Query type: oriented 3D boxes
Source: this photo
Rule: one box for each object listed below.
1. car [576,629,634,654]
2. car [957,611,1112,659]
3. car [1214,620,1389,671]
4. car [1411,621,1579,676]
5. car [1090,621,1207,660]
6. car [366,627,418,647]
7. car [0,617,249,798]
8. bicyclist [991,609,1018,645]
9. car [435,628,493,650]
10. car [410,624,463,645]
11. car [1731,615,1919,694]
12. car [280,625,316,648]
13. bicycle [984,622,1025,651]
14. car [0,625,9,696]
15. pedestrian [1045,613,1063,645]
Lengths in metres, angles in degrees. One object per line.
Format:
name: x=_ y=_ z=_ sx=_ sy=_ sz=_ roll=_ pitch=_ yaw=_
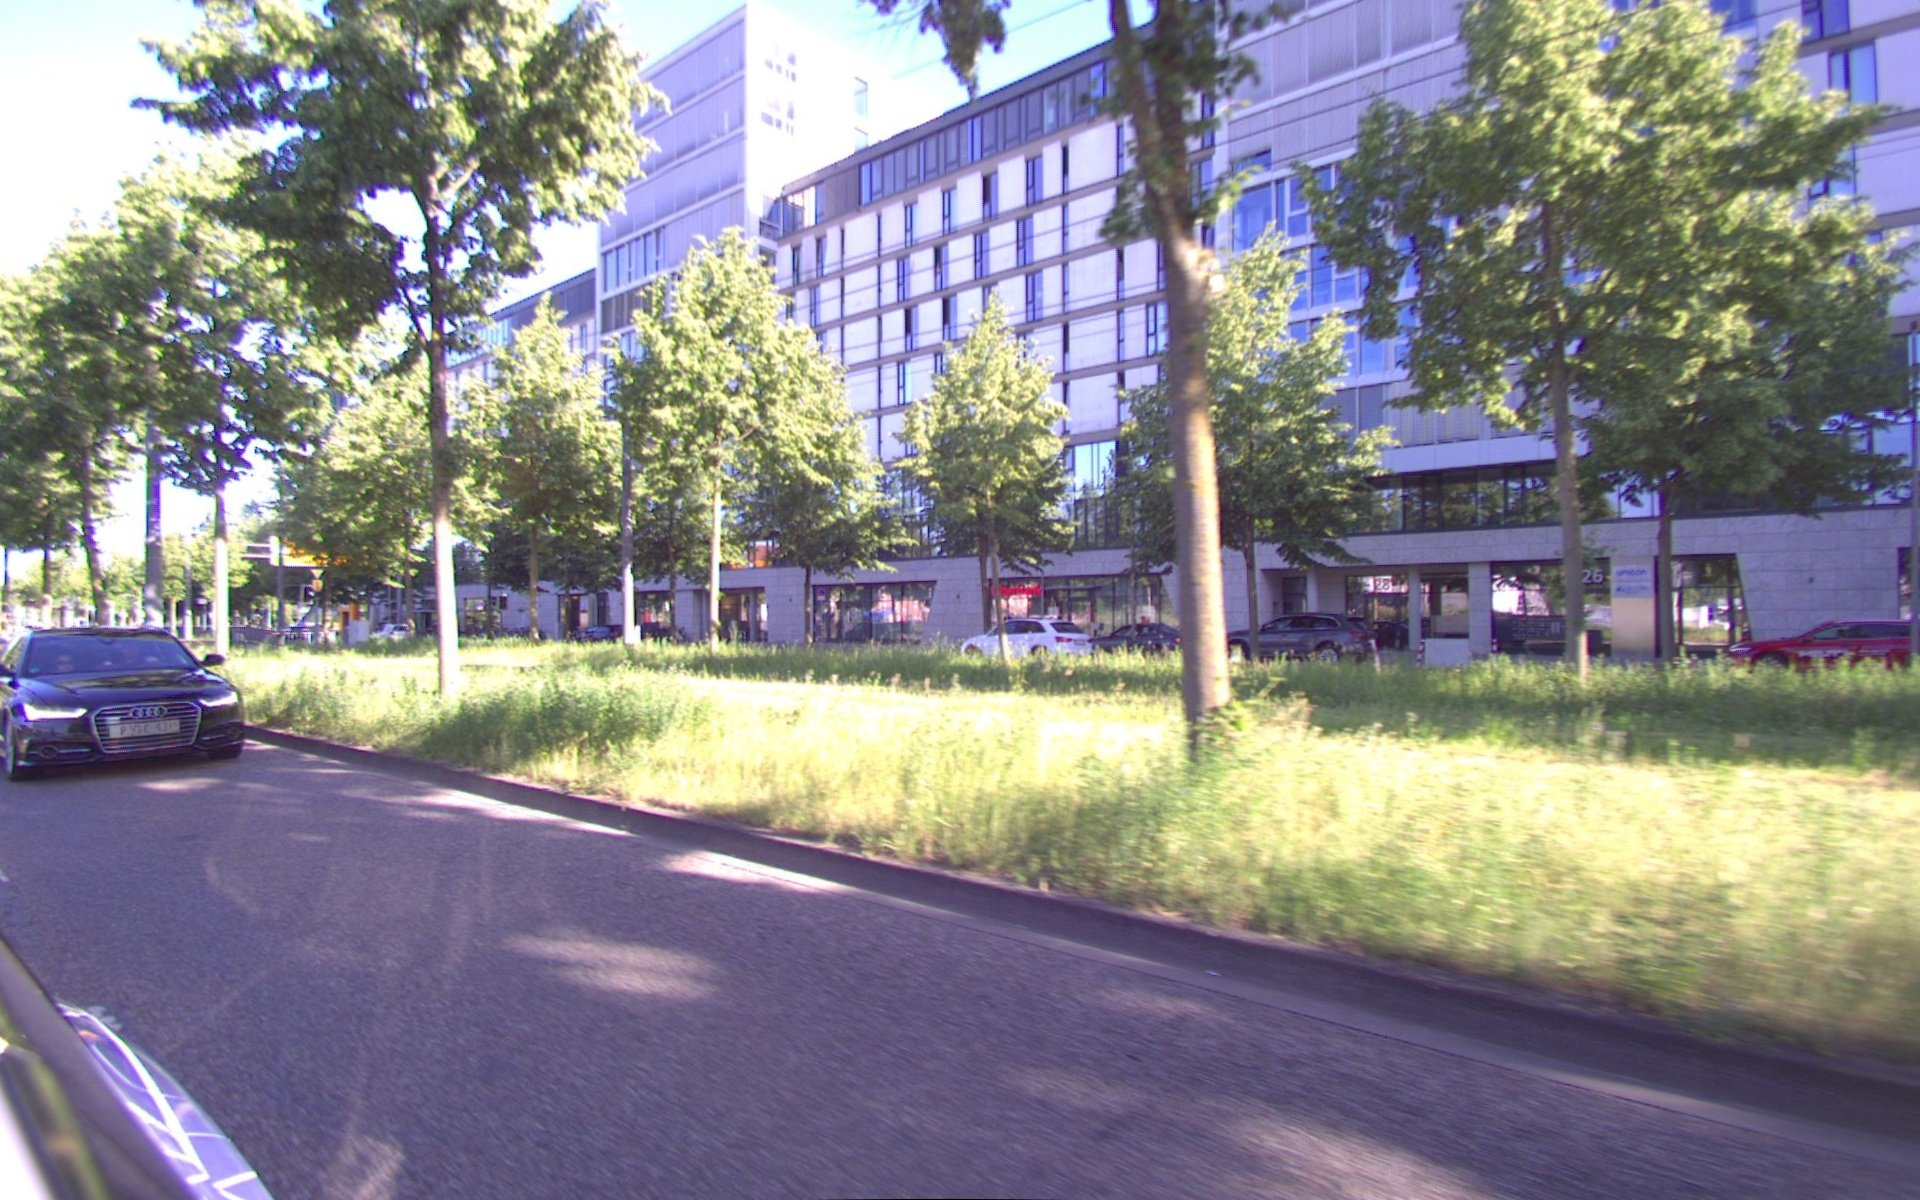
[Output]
car: x=-20.156 y=2.319 z=57.446 sx=3.463 sy=1.244 sz=1.633 roll=0 pitch=0 yaw=41
car: x=2.121 y=1.050 z=29.589 sx=4.307 sy=1.302 sz=1.779 roll=-3 pitch=-3 yaw=40
car: x=10.408 y=1.356 z=31.086 sx=4.801 sy=1.430 sz=1.651 roll=-2 pitch=-2 yaw=41
car: x=14.444 y=1.275 z=27.424 sx=3.751 sy=1.364 sz=1.715 roll=-2 pitch=-2 yaw=40
car: x=6.414 y=1.357 z=34.545 sx=3.580 sy=1.216 sz=1.651 roll=-1 pitch=-1 yaw=40
car: x=-35.874 y=2.330 z=63.911 sx=3.482 sy=1.247 sz=1.751 roll=-2 pitch=-1 yaw=40
car: x=-9.438 y=0.989 z=10.996 sx=4.599 sy=1.538 sz=1.766 roll=-2 pitch=-1 yaw=41
bicyclist: x=1.816 y=1.099 z=41.504 sx=0.832 sy=1.474 sz=0.712 roll=-2 pitch=-1 yaw=43
car: x=-34.004 y=2.635 z=69.367 sx=4.542 sy=1.431 sz=1.978 roll=-2 pitch=-1 yaw=41
car: x=-37.949 y=2.488 z=73.315 sx=4.542 sy=1.431 sz=1.938 roll=-2 pitch=-1 yaw=41
car: x=22.166 y=1.315 z=24.828 sx=5.121 sy=1.790 sz=1.781 roll=-2 pitch=-1 yaw=38
car: x=-61.384 y=3.390 z=93.831 sx=3.999 sy=1.940 sz=1.780 roll=0 pitch=0 yaw=42
bicycle: x=1.830 y=1.483 z=41.479 sx=1.571 sy=1.128 sz=0.724 roll=-2 pitch=-1 yaw=43
car: x=-23.785 y=1.398 z=23.609 sx=4.525 sy=1.581 sz=1.825 roll=-2 pitch=-2 yaw=40
pedestrian: x=4.205 y=1.294 z=45.079 sx=0.690 sy=1.423 sz=0.403 roll=0 pitch=0 yaw=41
